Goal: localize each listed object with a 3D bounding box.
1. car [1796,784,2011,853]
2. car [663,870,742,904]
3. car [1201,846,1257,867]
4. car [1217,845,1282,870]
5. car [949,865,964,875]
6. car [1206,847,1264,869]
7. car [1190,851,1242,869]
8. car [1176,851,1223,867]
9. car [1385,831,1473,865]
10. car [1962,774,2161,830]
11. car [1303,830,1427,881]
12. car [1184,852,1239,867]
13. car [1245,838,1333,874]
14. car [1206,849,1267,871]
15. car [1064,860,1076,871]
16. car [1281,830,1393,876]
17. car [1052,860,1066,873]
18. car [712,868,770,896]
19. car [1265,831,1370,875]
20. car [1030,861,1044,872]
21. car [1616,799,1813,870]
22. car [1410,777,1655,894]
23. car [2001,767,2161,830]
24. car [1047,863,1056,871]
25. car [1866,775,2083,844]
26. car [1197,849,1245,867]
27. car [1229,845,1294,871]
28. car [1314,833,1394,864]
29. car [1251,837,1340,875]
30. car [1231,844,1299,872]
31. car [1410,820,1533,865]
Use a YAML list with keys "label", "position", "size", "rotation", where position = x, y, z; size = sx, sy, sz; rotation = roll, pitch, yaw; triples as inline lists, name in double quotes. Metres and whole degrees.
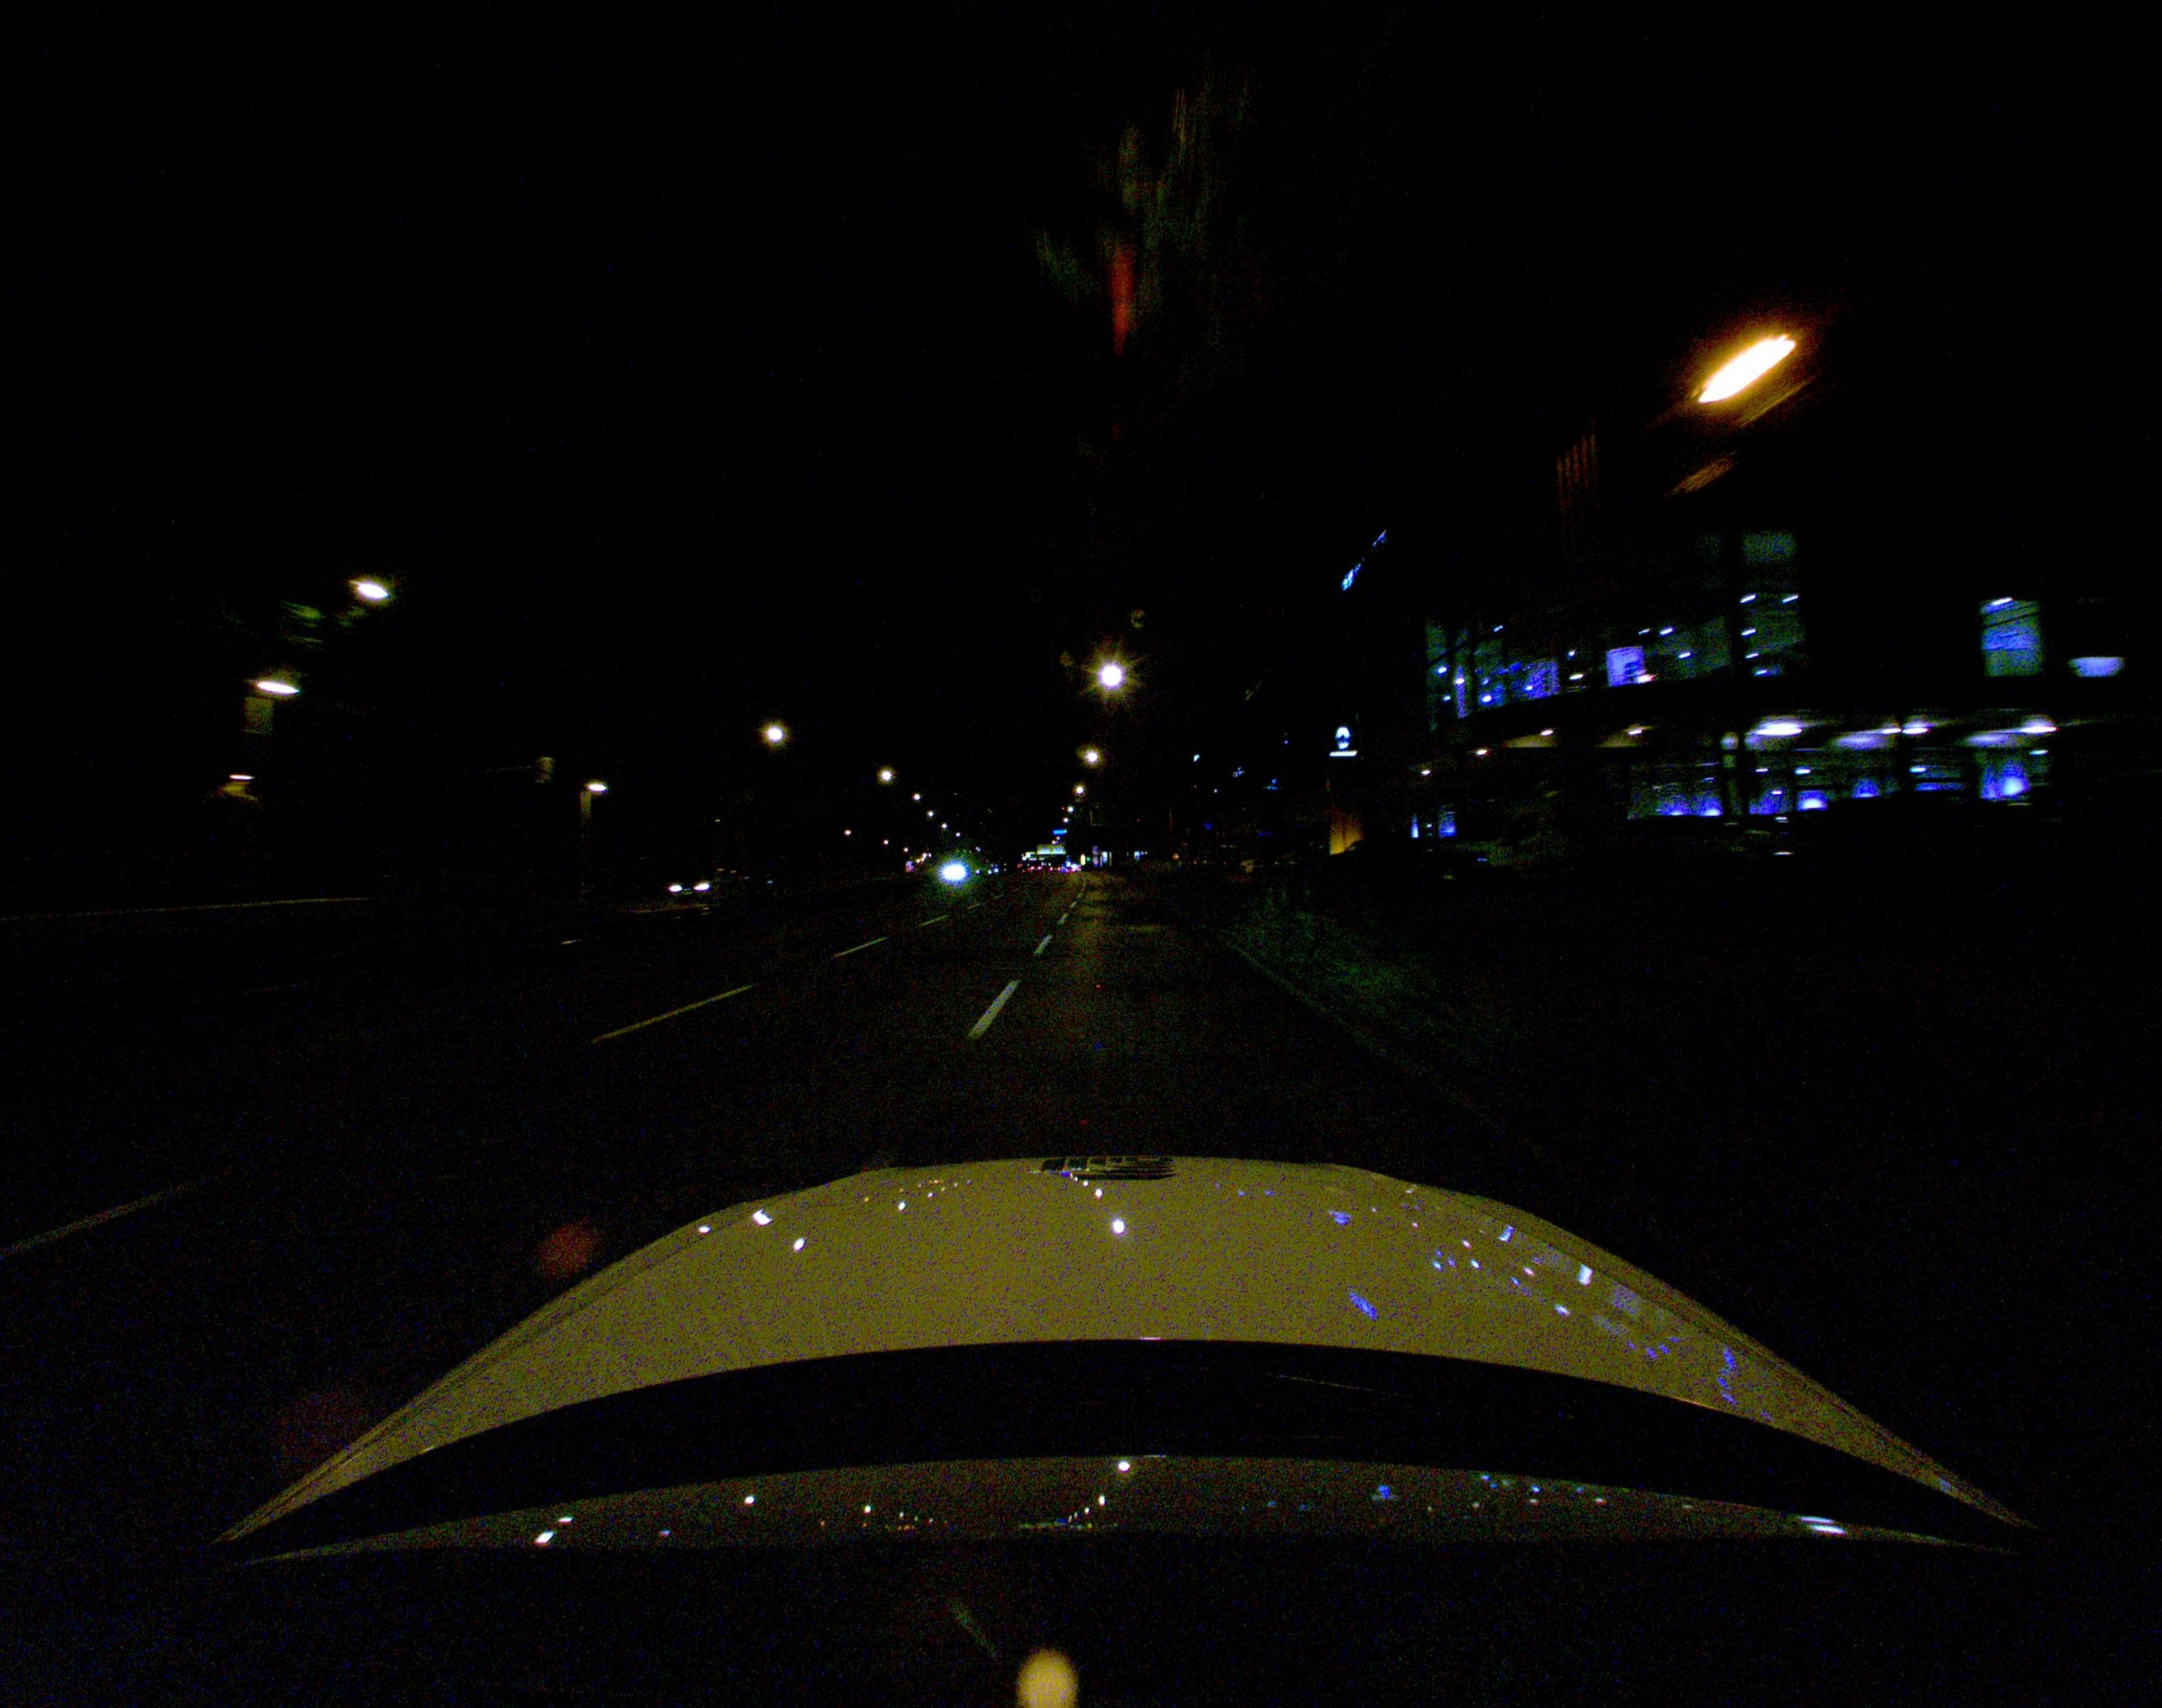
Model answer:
- label: "car"
  position: [23.685, -0.971, 23.646]
  size: [1.801, 1.577, 3.938]
  rotation: [-7, 1, -22]
- label: "car"
  position: [-17.766, 1.520, 38.419]
  size: [1.779, 1.497, 4.173]
  rotation: [-1, -2, 0]
- label: "car"
  position: [11.925, 0.216, 65.561]
  size: [4.000, 1.470, 1.821]
  rotation: [-4, 0, -20]
- label: "car"
  position: [11.789, 0.268, 57.036]
  size: [4.032, 1.373, 1.816]
  rotation: [-5, 0, -16]
- label: "car"
  position: [-20.760, 2.655, 136.057]
  size: [1.773, 1.713, 4.226]
  rotation: [-1, -1, 0]
- label: "car"
  position: [11.856, 0.288, 62.650]
  size: [4.004, 1.391, 1.813]
  rotation: [-3, 1, -22]
- label: "car"
  position: [11.714, 0.486, 70.748]
  size: [3.997, 1.424, 1.898]
  rotation: [-1, 0, -18]
- label: "car"
  position: [11.404, 0.481, 78.454]
  size: [4.127, 1.420, 1.868]
  rotation: [0, -1, -14]
- label: "car"
  position: [16.792, -0.283, 39.405]
  size: [1.646, 1.422, 3.463]
  rotation: [-2, -2, -37]
- label: "car"
  position: [29.921, -1.540, 24.794]
  size: [1.659, 1.335, 3.850]
  rotation: [-3, -1, -22]
- label: "car"
  position: [11.301, 0.059, 32.569]
  size: [4.204, 1.663, 1.954]
  rotation: [-4, 0, -11]
- label: "car"
  position: [11.802, 0.494, 73.468]
  size: [4.652, 1.264, 1.931]
  rotation: [-1, 0, -25]
- label: "car"
  position: [11.872, 0.103, 46.616]
  size: [4.461, 1.547, 1.764]
  rotation: [-6, -1, -10]
- label: "car"
  position: [11.523, 0.435, 60.438]
  size: [3.988, 1.381, 1.802]
  rotation: [-4, 0, -11]
- label: "car"
  position: [-2.178, 2.276, 162.803]
  size: [2.419, 2.113, 4.825]
  rotation: [-1, -1, 0]
- label: "car"
  position: [11.797, -0.051, 37.638]
  size: [4.462, 1.810, 1.993]
  rotation: [-4, 0, -11]
- label: "car"
  position: [-3.856, 2.215, 142.535]
  size: [2.348, 2.129, 4.825]
  rotation: [-1, -1, 0]
- label: "car"
  position: [-20.260, 1.646, 48.703]
  size: [1.654, 1.517, 3.912]
  rotation: [-1, -1, 2]
- label: "car"
  position: [11.703, -0.046, 40.414]
  size: [4.462, 1.687, 1.993]
  rotation: [-6, 0, -11]
- label: "car"
  position: [-7.693, 2.196, 143.609]
  size: [2.255, 2.014, 4.825]
  rotation: [-1, -1, 0]
- label: "car"
  position: [17.670, -0.483, 22.943]
  size: [1.813, 1.712, 3.938]
  rotation: [-4, 0, -22]
- label: "car"
  position: [12.582, -0.534, 22.767]
  size: [6.032, 2.529, 2.271]
  rotation: [-7, 1, -17]
- label: "car"
  position: [32.588, -1.724, 25.473]
  size: [2.001, 1.662, 4.633]
  rotation: [-1, -1, -22]
- label: "car"
  position: [-6.896, 2.977, 192.267]
  size: [1.881, 1.860, 3.999]
  rotation: [-1, -1, 0]
- label: "car"
  position: [26.596, -1.274, 24.415]
  size: [1.784, 1.601, 3.938]
  rotation: [-7, 1, -22]
- label: "car"
  position: [11.693, 0.337, 68.080]
  size: [3.618, 1.433, 1.667]
  rotation: [-1, -1, -24]
- label: "car"
  position: [12.021, 0.278, 54.389]
  size: [3.772, 1.378, 1.709]
  rotation: [-6, 0, -13]
- label: "car"
  position: [17.952, -0.318, 53.761]
  size: [1.843, 1.918, 4.774]
  rotation: [0, -1, -36]
- label: "car"
  position: [11.355, 0.093, 43.154]
  size: [4.082, 1.568, 1.848]
  rotation: [-6, 0, -11]
- label: "car"
  position: [11.702, 0.245, 51.856]
  size: [3.807, 1.453, 1.709]
  rotation: [-4, 0, -14]
- label: "car"
  position: [16.871, -0.450, 35.356]
  size: [1.729, 1.510, 4.393]
  rotation: [-4, -2, -39]
